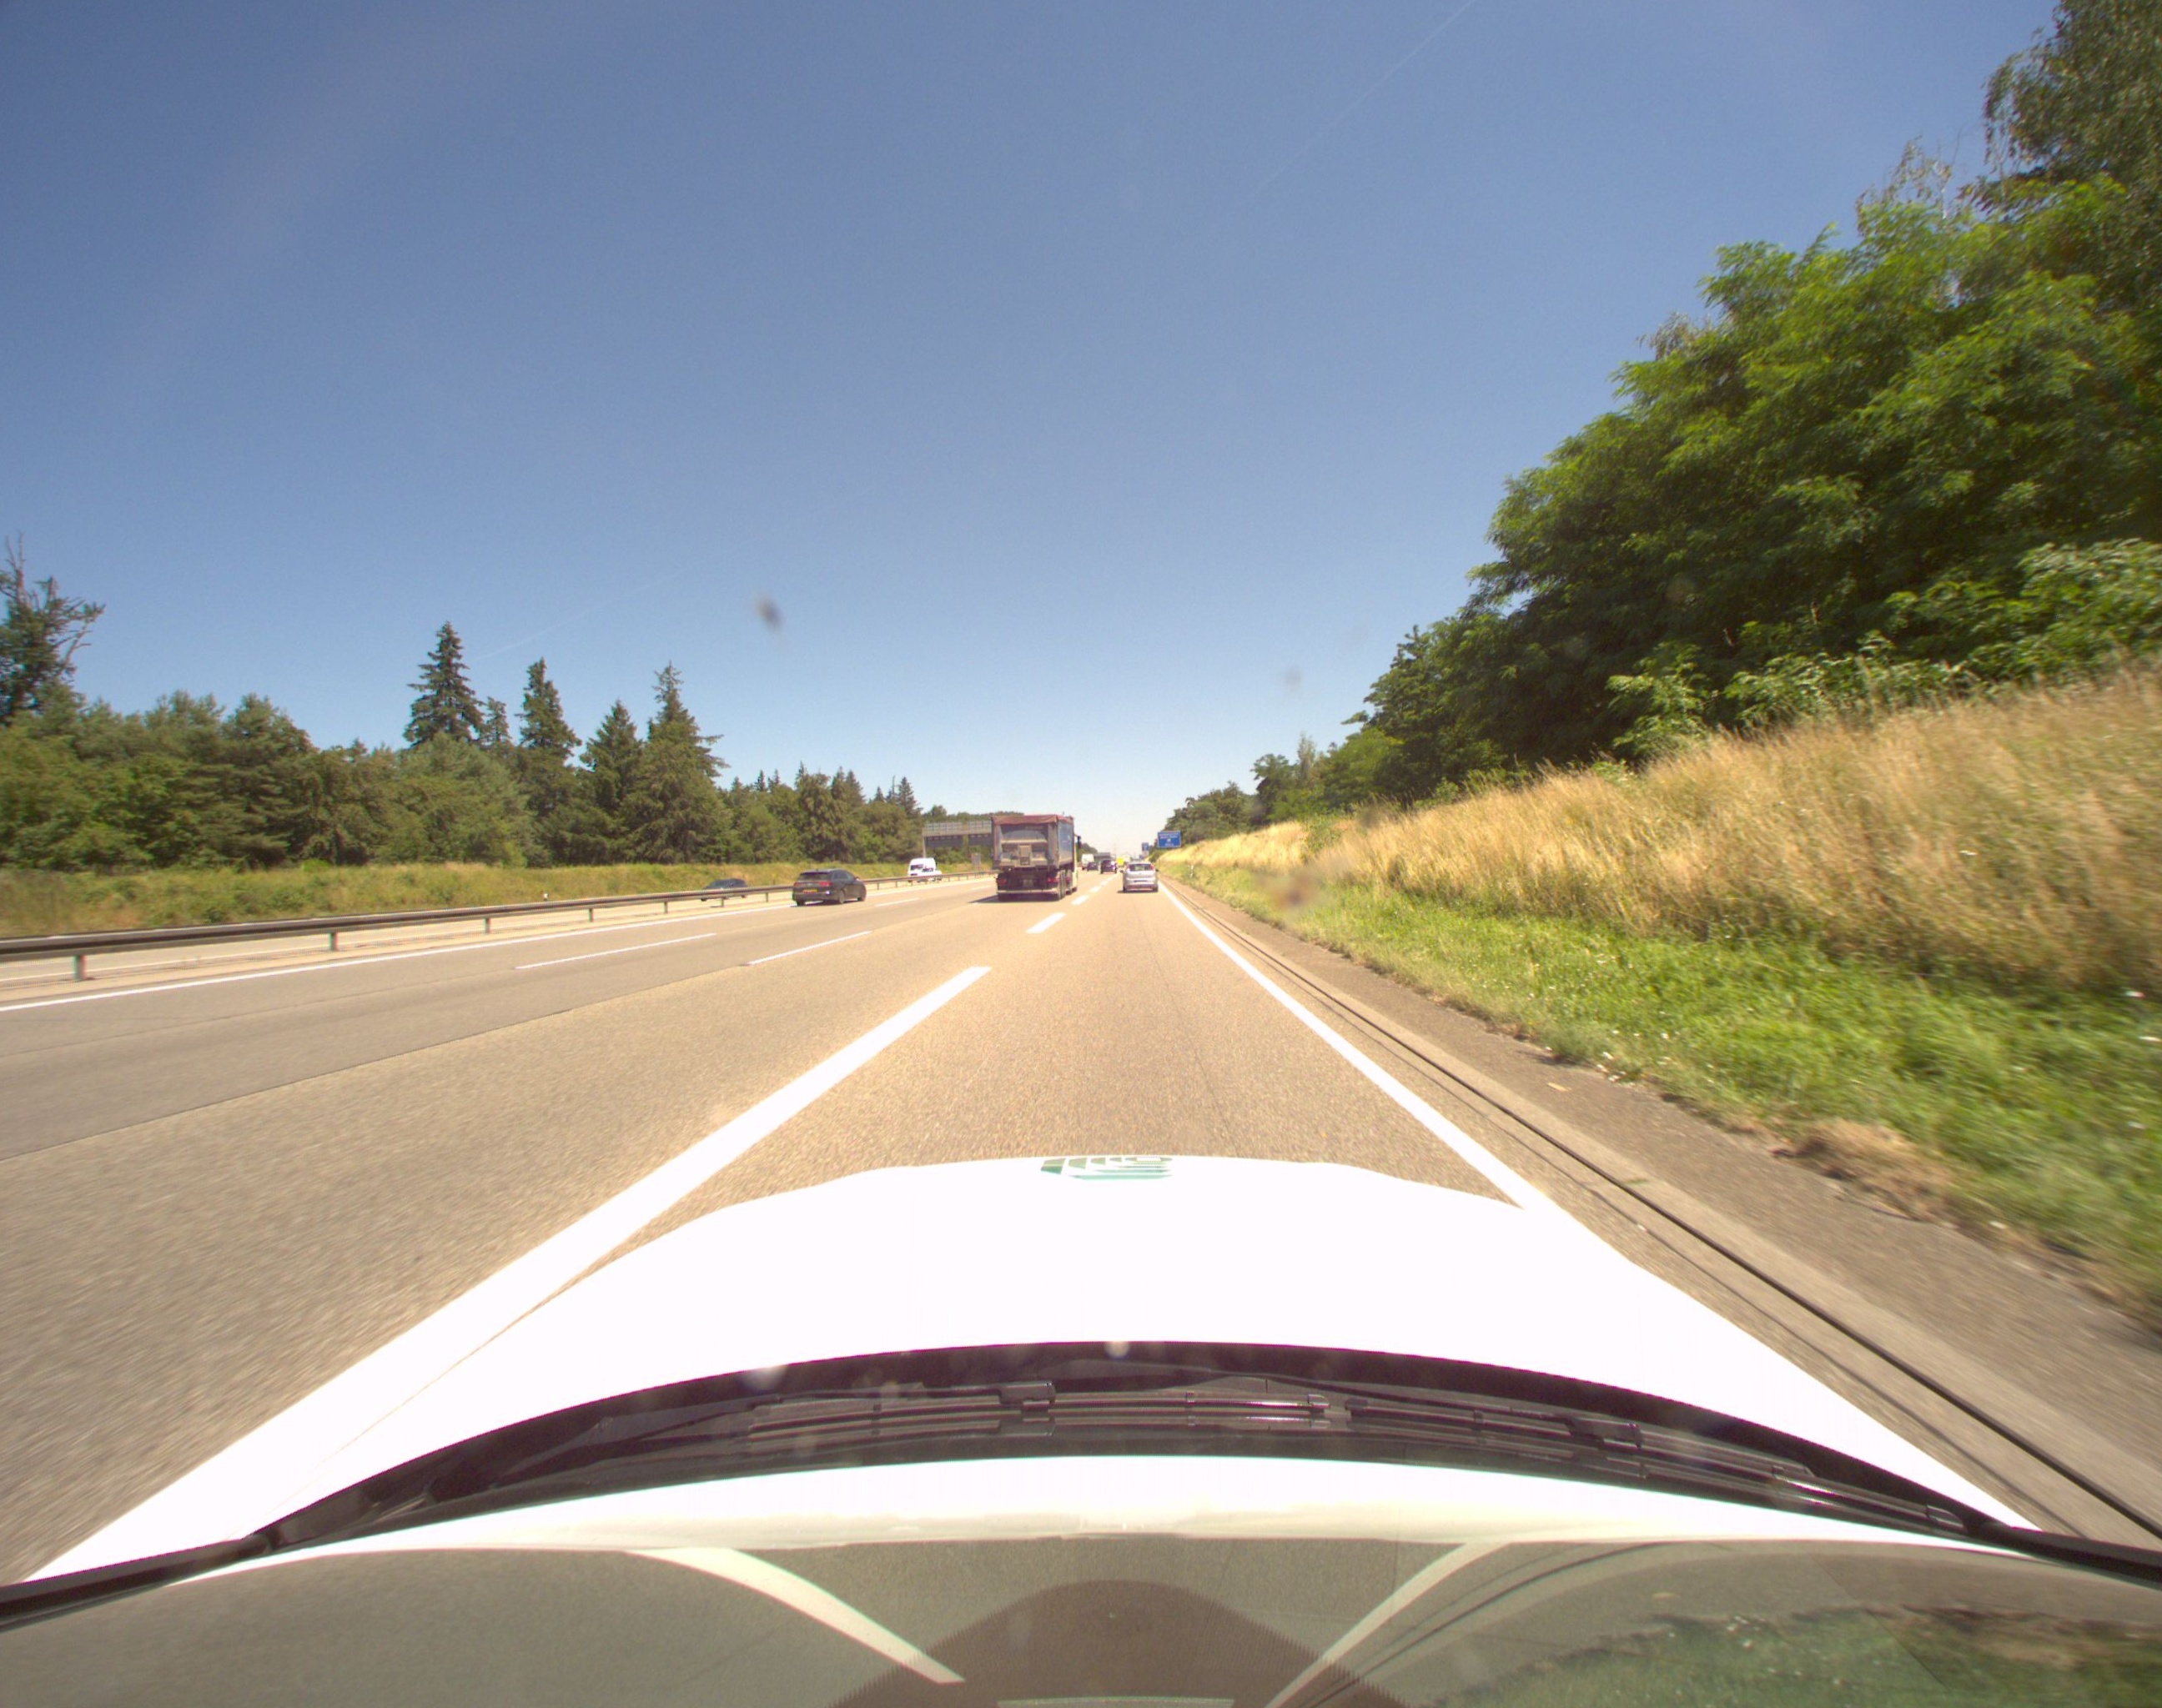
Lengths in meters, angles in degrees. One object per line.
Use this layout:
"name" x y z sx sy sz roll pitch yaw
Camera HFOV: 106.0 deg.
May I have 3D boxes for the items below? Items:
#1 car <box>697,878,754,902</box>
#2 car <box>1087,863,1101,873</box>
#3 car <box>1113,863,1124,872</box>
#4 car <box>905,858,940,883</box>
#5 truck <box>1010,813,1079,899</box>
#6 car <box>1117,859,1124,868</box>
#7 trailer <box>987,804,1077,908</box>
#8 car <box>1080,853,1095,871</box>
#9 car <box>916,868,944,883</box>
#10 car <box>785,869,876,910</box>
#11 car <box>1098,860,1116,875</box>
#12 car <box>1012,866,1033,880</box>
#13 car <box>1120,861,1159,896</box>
"car" -25.139 2.489 57.776 1.684 1.391 4.680 -4 0 4
"car" 2.018 2.195 126.975 1.885 1.469 4.266 -1 0 4
"car" 6.850 2.415 147.359 1.813 1.492 3.741 -1 -1 4
"car" -18.904 1.897 97.463 2.333 2.711 6.880 -4 0 4
"truck" -1.635 0.084 39.375 2.673 3.758 5.948 -2 0 3
"car" 8.735 2.072 179.423 1.605 2.014 4.003 -1 0 3
"trailer" -1.859 0.074 34.937 2.725 3.758 9.116 -2 0 3
"car" 1.187 1.393 144.221 2.250 2.951 6.118 -1 0 3
"car" -15.693 2.238 84.968 1.684 1.391 4.680 -4 0 4
"car" -10.192 1.401 33.579 1.824 1.431 5.005 -1 0 4
"car" 3.089 1.616 95.816 1.823 1.672 4.005 -1 -1 5
"car" -6.499 2.108 91.127 1.696 1.474 4.601 -2 0 4
"car" 2.784 1.143 39.361 1.713 1.491 3.739 -1 0 2
